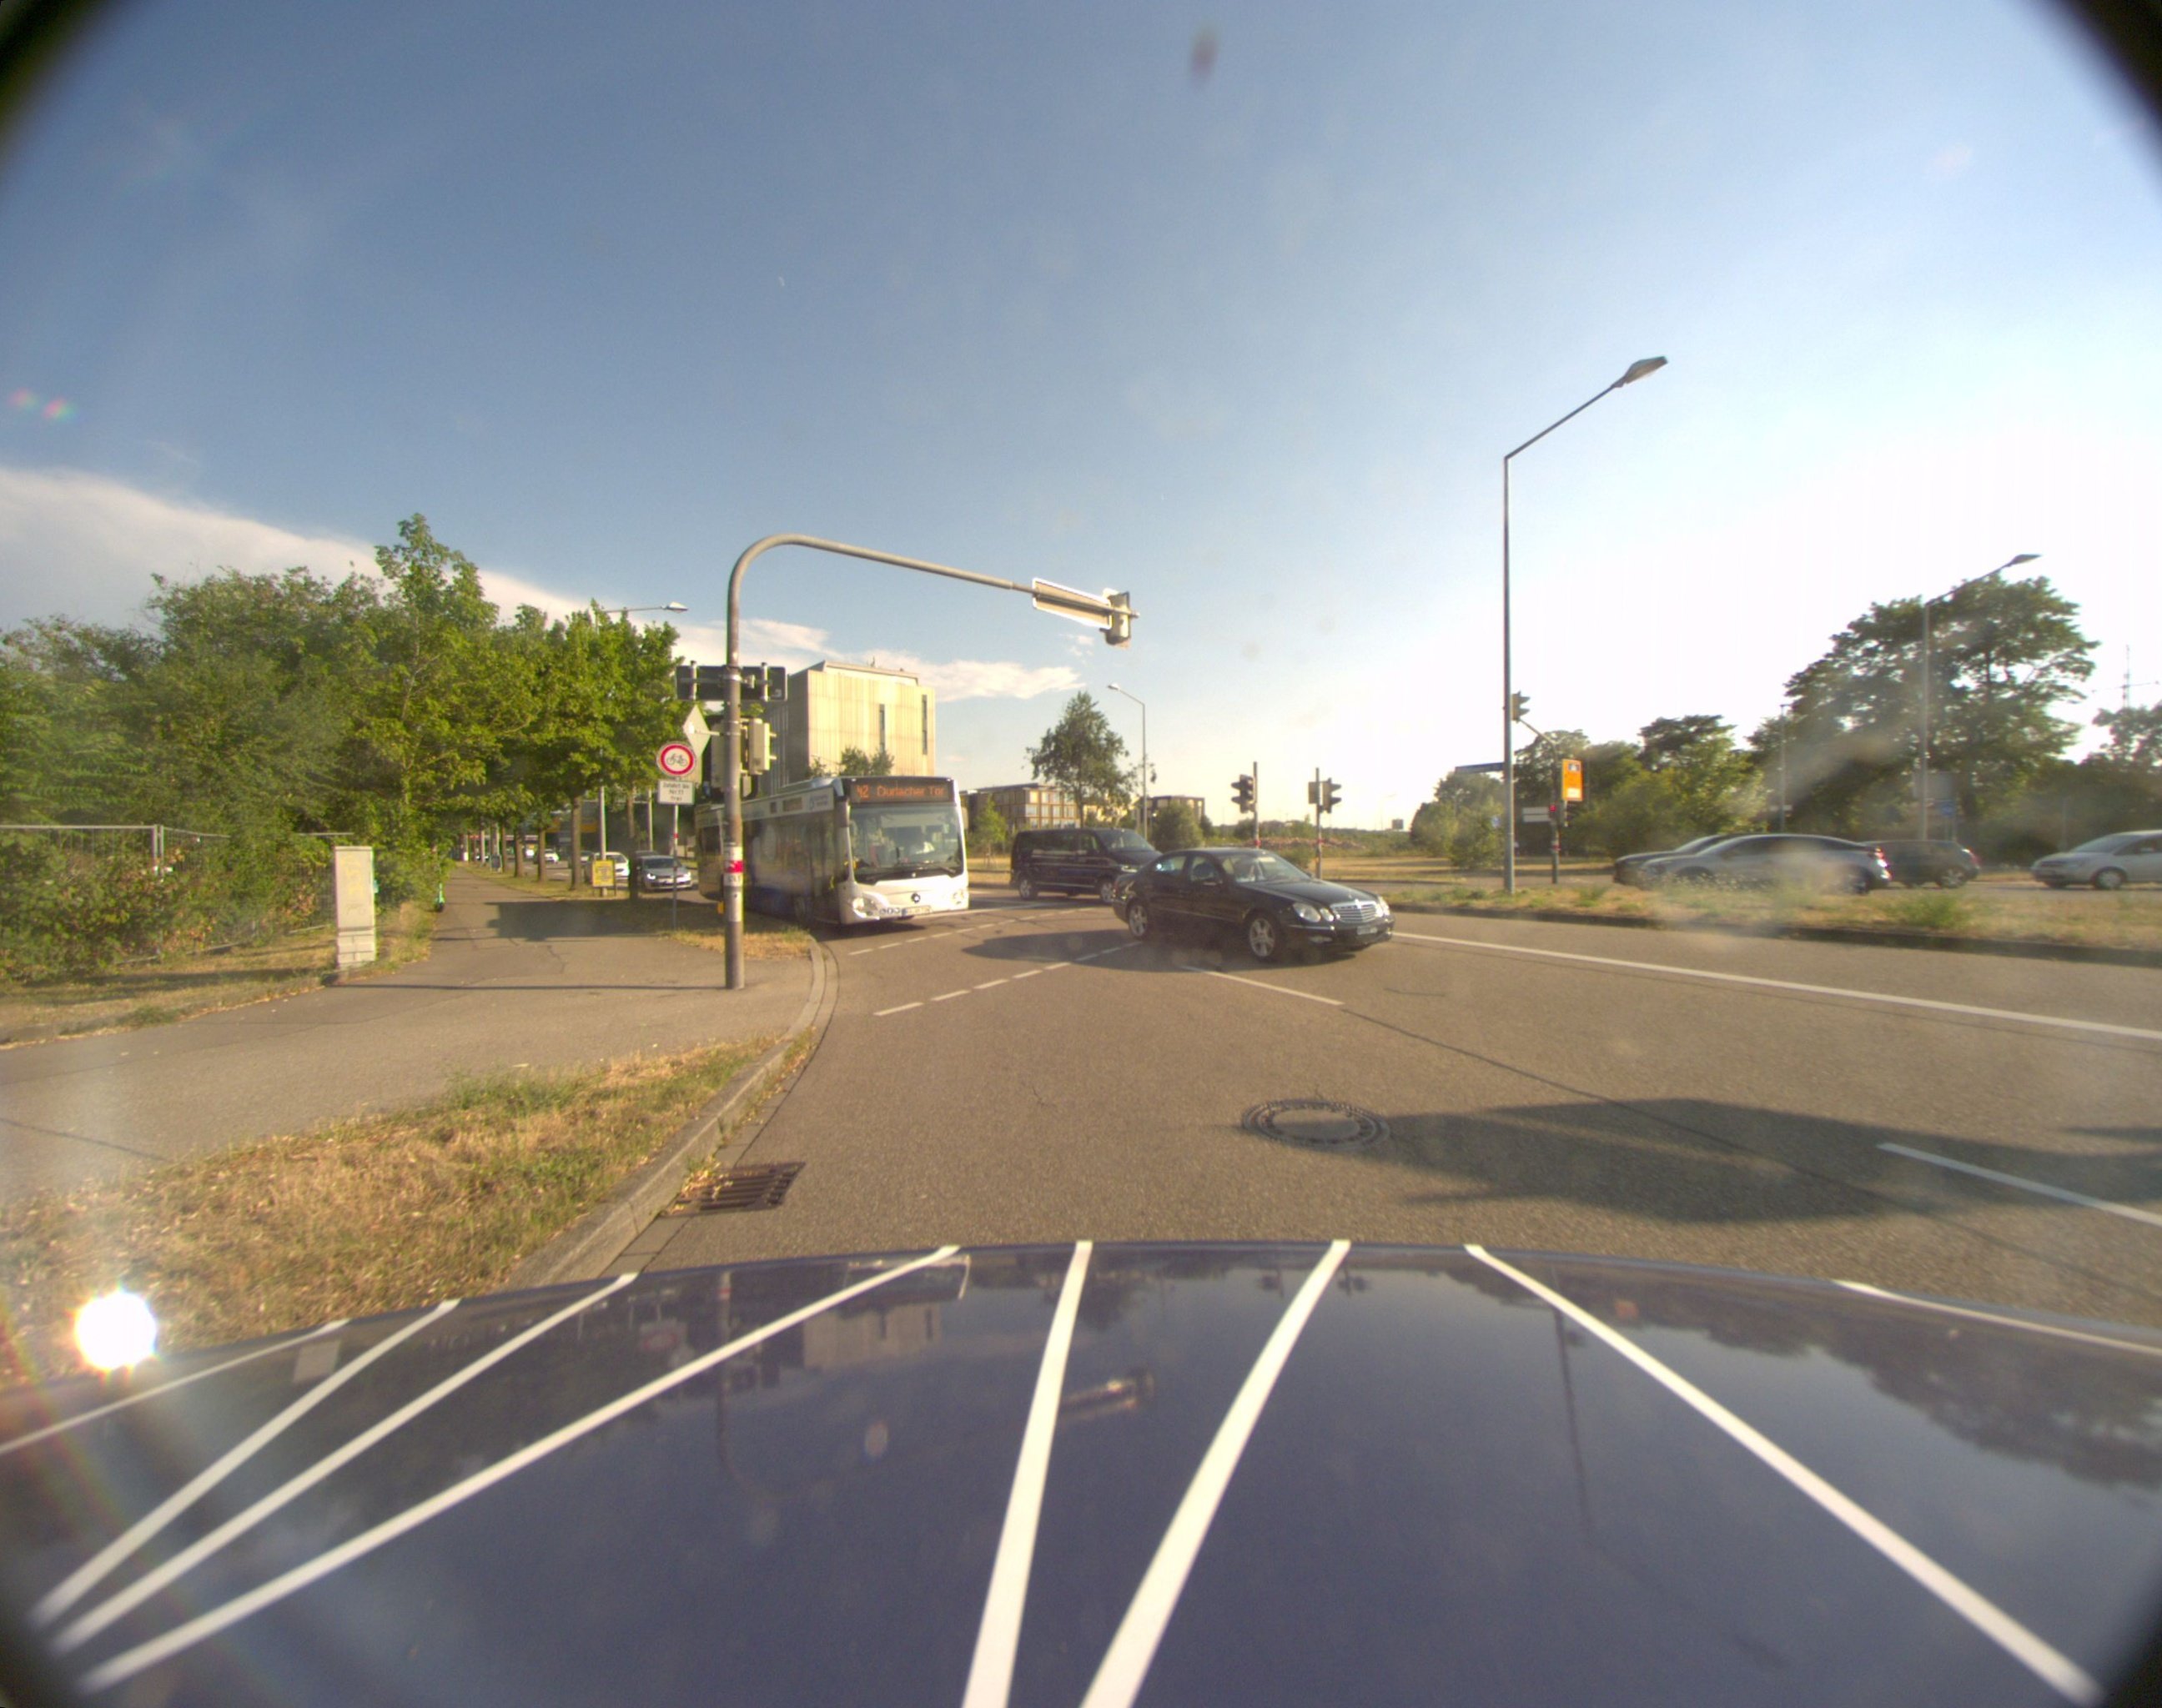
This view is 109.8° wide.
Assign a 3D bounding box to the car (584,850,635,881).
[{"bbox_3d":[-24.848,0.583,40.002,1.589,1.553,3.616,-1,1,-43],"label":"car"}]

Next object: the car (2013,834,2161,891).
[{"bbox_3d":[28.990,0.216,20.902,3.935,1.516,1.658,0,1,18],"label":"car"}]

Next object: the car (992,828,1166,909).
[{"bbox_3d":[-0.194,0.314,20.792,1.865,1.921,4.998,-3,3,-42],"label":"car"}]

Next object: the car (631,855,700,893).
[{"bbox_3d":[-17.070,0.783,31.153,1.589,1.415,3.616,-1,1,-43],"label":"car"}]

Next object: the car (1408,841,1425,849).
[{"bbox_3d":[50.708,-1.355,114.850,1.335,1.284,2.804,-1,1,2],"label":"car"}]

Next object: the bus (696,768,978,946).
[{"bbox_3d":[-6.606,-0.017,18.364,2.601,3.026,11.686,-3,2,-38],"label":"bus"}]

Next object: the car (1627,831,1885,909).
[{"bbox_3d":[15.586,0.342,17.859,4.189,1.663,1.779,0,1,24],"label":"car"}]

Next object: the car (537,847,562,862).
[{"bbox_3d":[-55.427,0.058,79.245,1.589,1.553,3.616,-1,1,-43],"label":"car"}]

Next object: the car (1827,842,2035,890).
[{"bbox_3d":[24.814,0.319,22.346,3.822,1.342,1.483,0,1,19],"label":"car"}]

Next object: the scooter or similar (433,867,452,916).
[{"bbox_3d":[-15.258,0.872,18.161,0.250,1.119,1.092,2,-1,-37],"label":"scooter or similar"}]

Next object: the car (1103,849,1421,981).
[{"bbox_3d":[2.325,0.680,11.001,1.814,1.429,4.482,-3,2,-31],"label":"car"}]

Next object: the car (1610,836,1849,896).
[{"bbox_3d":[17.268,0.306,20.539,4.633,1.504,1.656,0,0,24],"label":"car"}]
